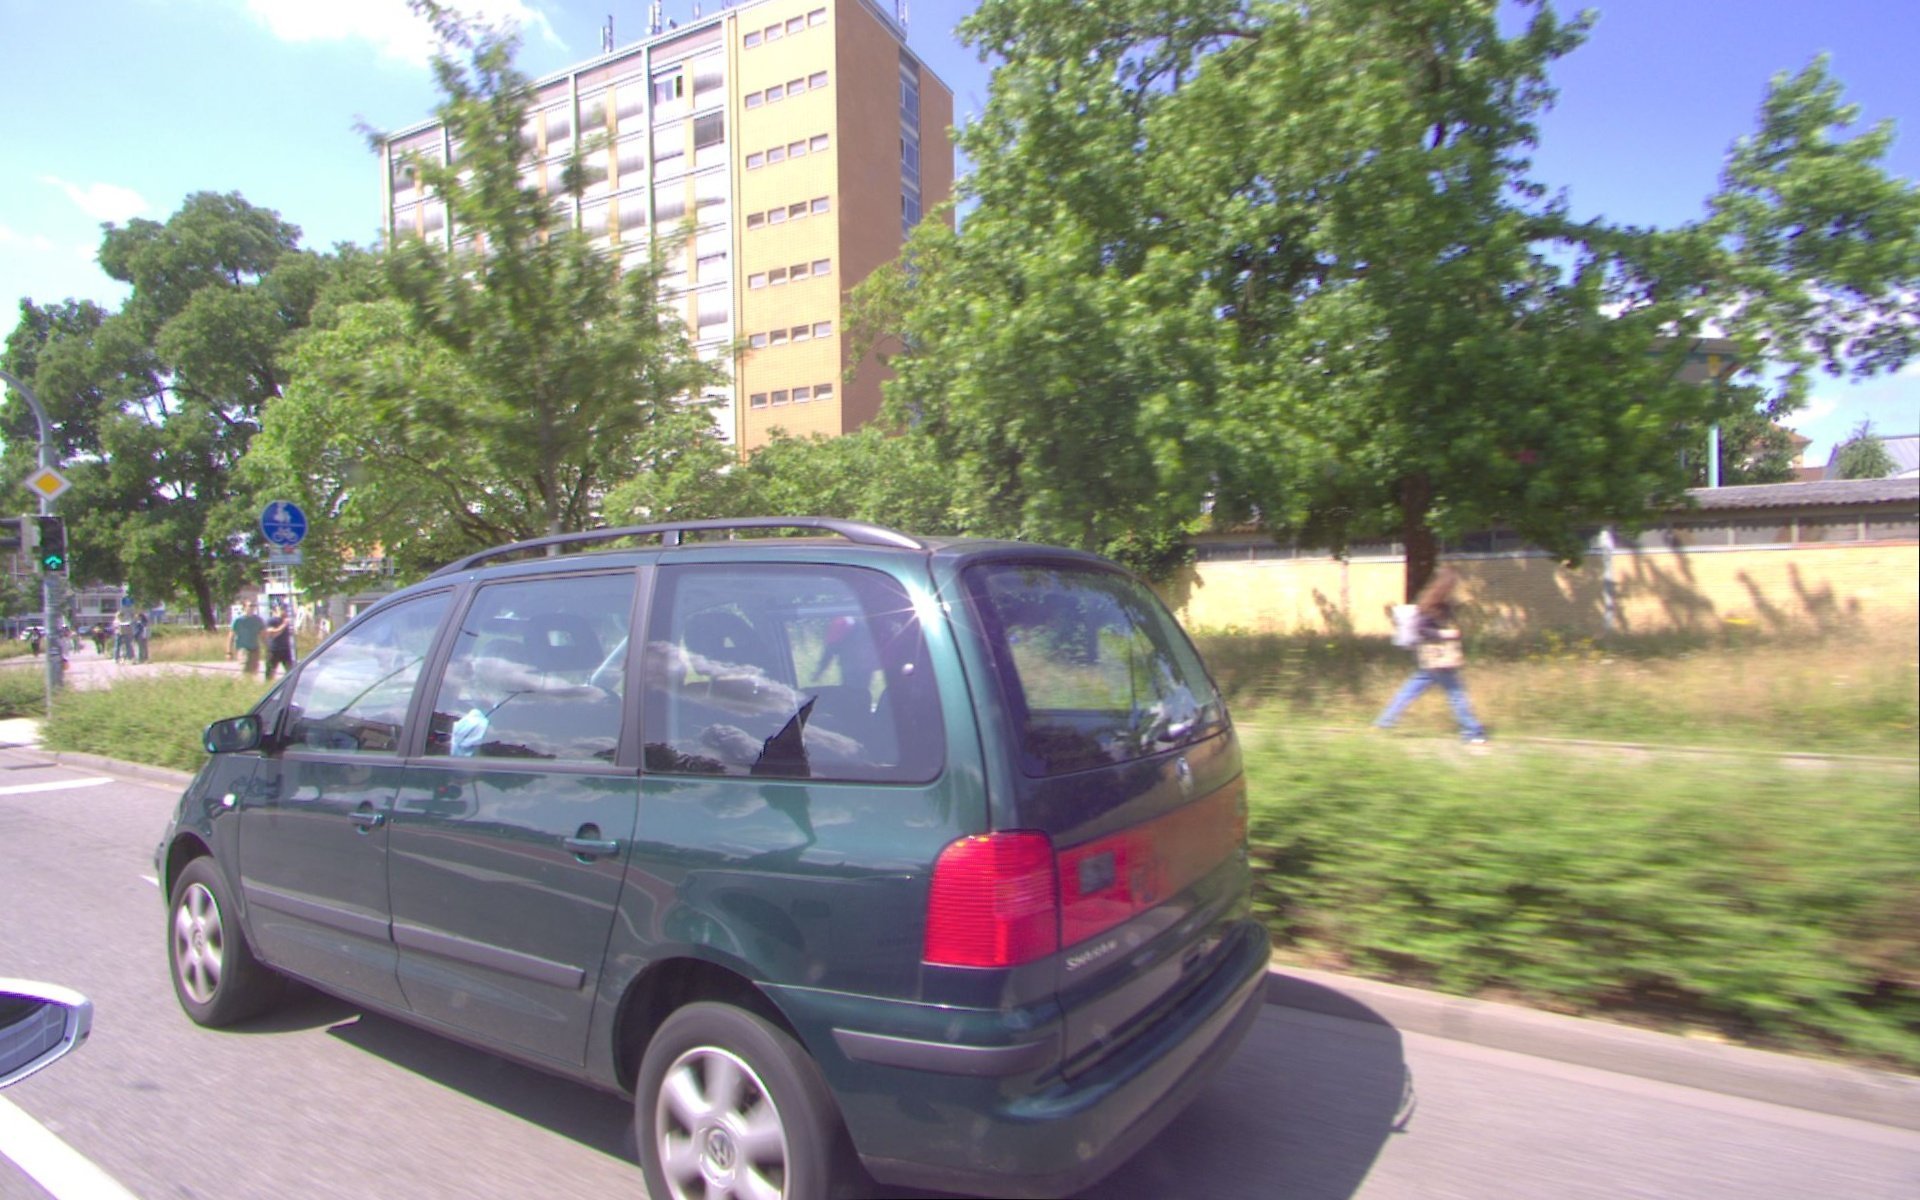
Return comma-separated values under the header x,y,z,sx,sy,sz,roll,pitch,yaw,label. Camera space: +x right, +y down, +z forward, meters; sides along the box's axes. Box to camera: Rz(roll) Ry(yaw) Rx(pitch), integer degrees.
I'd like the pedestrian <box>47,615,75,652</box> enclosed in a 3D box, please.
x,y,z,sx,sy,sz,roll,pitch,yaw,label
-45.743,1.695,50.944,0.769,1.846,0.753,-1,3,34,pedestrian

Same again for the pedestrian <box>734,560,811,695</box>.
x,y,z,sx,sy,sz,roll,pitch,yaw,label
-2.539,0.353,13.576,0.657,1.773,0.747,0,2,31,pedestrian

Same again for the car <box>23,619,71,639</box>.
x,y,z,sx,sy,sz,roll,pitch,yaw,label
-80.127,2.492,87.907,1.856,1.663,3.944,-1,0,-23,car

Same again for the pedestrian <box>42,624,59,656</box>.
x,y,z,sx,sy,sz,roll,pitch,yaw,label
-47.754,2.085,52.587,0.719,1.646,0.585,-2,-2,40,pedestrian

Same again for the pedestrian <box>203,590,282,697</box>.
x,y,z,sx,sy,sz,roll,pitch,yaw,label
-12.547,0.738,17.519,0.867,1.802,0.749,-1,2,26,pedestrian

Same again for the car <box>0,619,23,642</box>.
x,y,z,sx,sy,sz,roll,pitch,yaw,label
-72.023,2.282,75.021,1.861,1.663,3.935,-1,0,-31,car

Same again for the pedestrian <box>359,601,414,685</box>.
x,y,z,sx,sy,sz,roll,pitch,yaw,label
-11.422,0.837,19.949,0.638,1.618,0.665,0,2,31,pedestrian

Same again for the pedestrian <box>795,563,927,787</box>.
x,y,z,sx,sy,sz,roll,pitch,yaw,label
-0.824,0.589,8.393,0.835,1.773,0.665,0,2,31,pedestrian

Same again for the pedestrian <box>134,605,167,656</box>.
x,y,z,sx,sy,sz,roll,pitch,yaw,label
-28.779,1.081,35.598,0.602,1.776,0.746,0,2,38,pedestrian

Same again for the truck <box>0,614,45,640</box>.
x,y,z,sx,sy,sz,roll,pitch,yaw,label
-109.996,3.144,115.451,2.843,2.889,8.778,-1,0,-16,truck

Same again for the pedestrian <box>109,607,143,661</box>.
x,y,z,sx,sy,sz,roll,pitch,yaw,label
-28.879,1.152,34.685,0.602,1.827,0.746,0,2,38,pedestrian

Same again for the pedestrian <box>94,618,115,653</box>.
x,y,z,sx,sy,sz,roll,pitch,yaw,label
-45.148,1.890,52.851,0.666,1.844,0.752,-2,-2,41,pedestrian

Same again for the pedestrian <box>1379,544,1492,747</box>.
x,y,z,sx,sy,sz,roll,pitch,yaw,label
4.383,0.396,9.219,0.865,1.773,0.665,0,2,31,pedestrian

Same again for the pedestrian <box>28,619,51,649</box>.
x,y,z,sx,sy,sz,roll,pitch,yaw,label
-49.938,1.836,54.309,0.751,1.610,0.754,-1,-1,34,pedestrian

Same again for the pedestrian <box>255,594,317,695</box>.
x,y,z,sx,sy,sz,roll,pitch,yaw,label
-12.231,0.791,18.168,0.600,1.770,0.666,0,2,26,pedestrian

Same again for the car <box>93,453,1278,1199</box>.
x,y,z,sx,sy,sz,roll,pitch,yaw,label
-1.279,0.678,3.707,4.386,1.745,1.791,-1,-2,34,car

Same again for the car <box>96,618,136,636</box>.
x,y,z,sx,sy,sz,roll,pitch,yaw,label
-81.450,2.571,96.653,1.856,1.663,3.944,-1,0,-23,car
